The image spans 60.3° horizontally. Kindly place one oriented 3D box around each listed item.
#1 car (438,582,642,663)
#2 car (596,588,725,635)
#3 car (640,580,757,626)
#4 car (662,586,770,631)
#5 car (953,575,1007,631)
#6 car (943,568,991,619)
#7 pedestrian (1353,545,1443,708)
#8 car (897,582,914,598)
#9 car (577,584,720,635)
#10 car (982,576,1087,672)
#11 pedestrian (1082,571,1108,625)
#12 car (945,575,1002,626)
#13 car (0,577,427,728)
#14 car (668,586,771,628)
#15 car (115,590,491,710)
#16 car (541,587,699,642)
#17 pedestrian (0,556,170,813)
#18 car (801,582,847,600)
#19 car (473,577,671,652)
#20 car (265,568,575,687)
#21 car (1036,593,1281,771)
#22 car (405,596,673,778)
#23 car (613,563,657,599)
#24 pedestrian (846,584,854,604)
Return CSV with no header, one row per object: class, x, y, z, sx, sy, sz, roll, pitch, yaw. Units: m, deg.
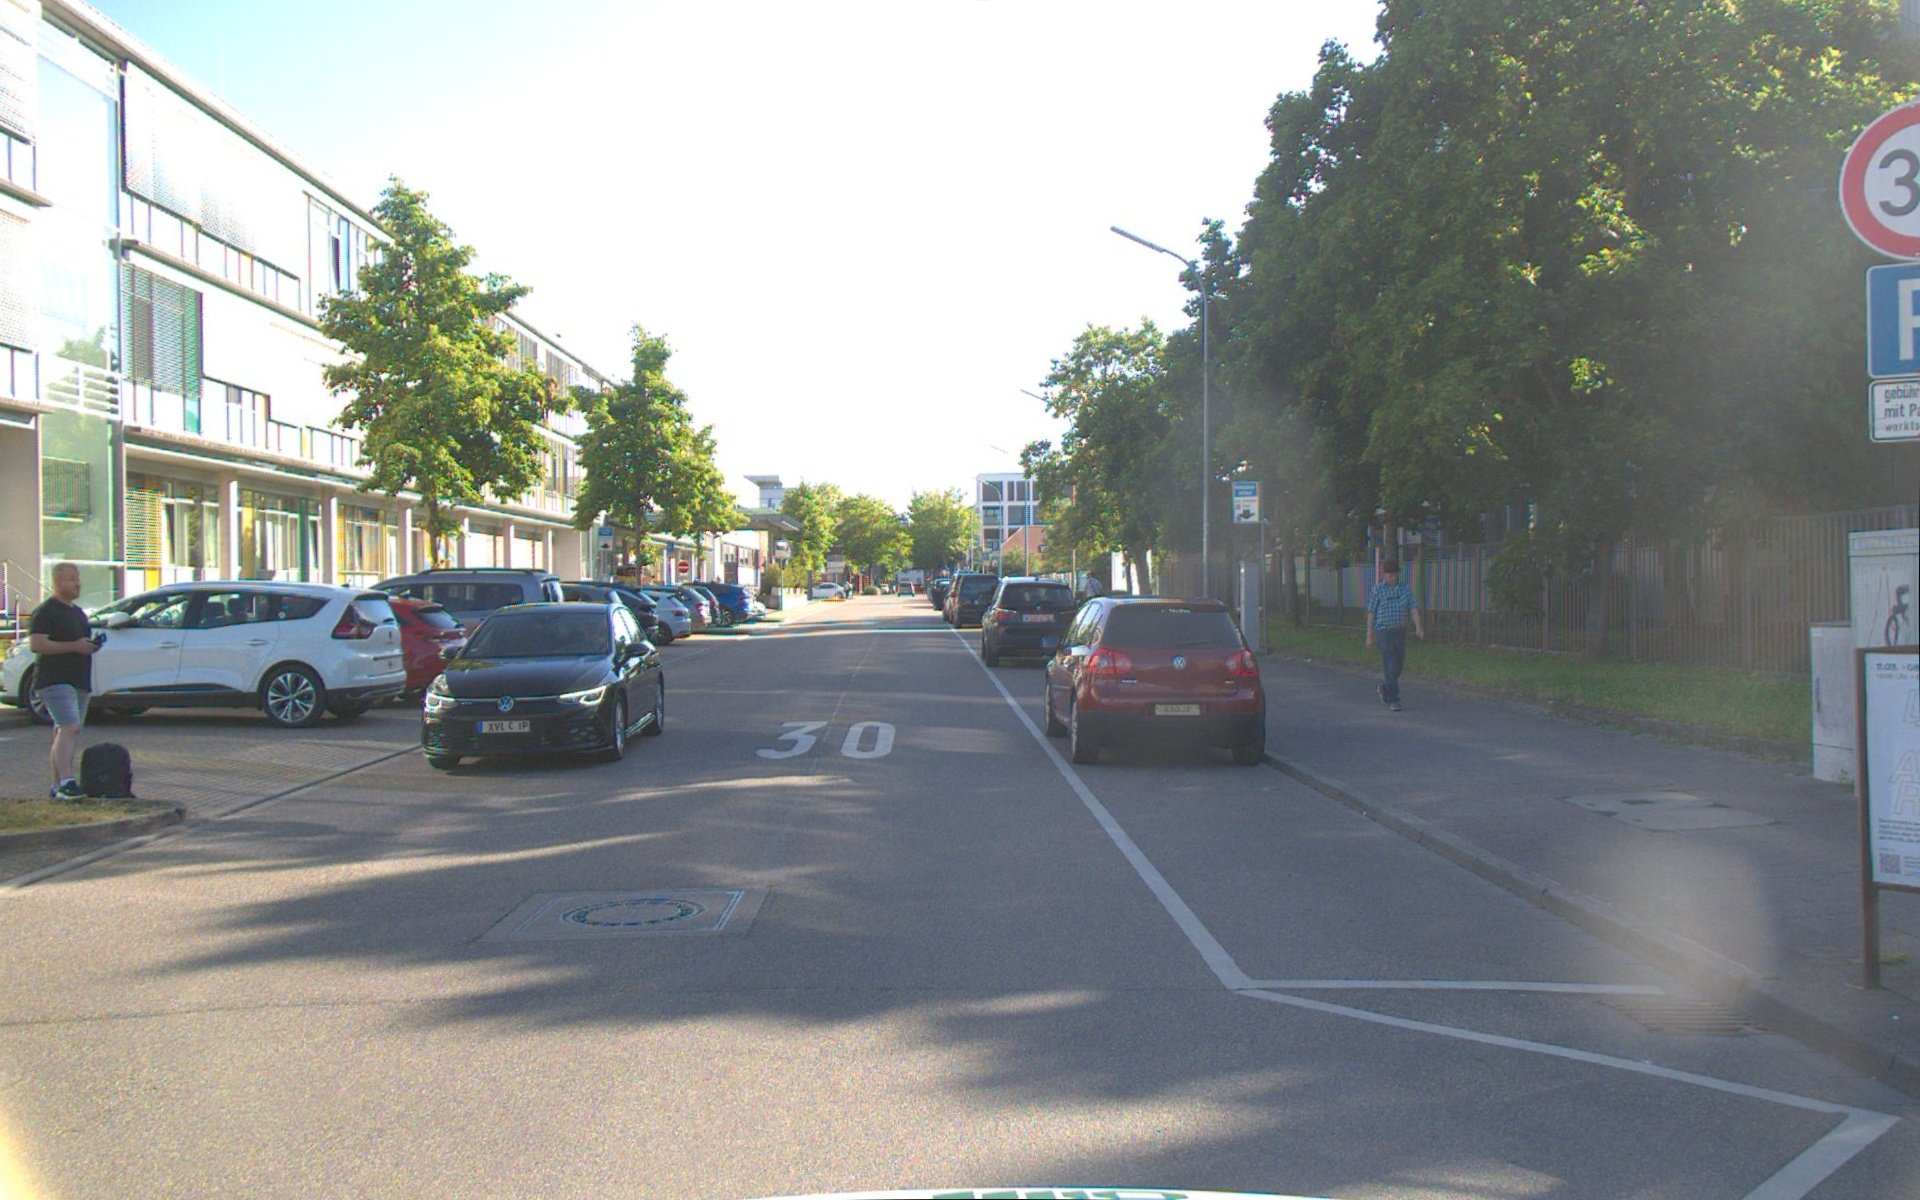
car,-8.846,0.457,35.103,3.909,1.635,1.870,1,0,-6
car,-10.133,0.370,56.244,4.132,1.512,1.870,1,0,-6
car,-9.586,0.108,60.852,4.132,1.631,1.870,1,0,-6
car,-9.311,0.304,63.311,3.909,1.579,1.998,-1,0,-5
car,0.662,0.082,57.265,1.698,1.862,3.904,-1,0,-1
car,0.258,-0.286,69.742,1.837,2.013,3.999,-2,1,-2
pedestrian,5.007,0.290,18.967,0.703,1.788,0.884,-3,1,-1
car,-5.621,-1.054,170.699,1.708,1.570,3.999,0,0,-2
car,-9.523,0.286,50.852,4.132,1.487,1.870,1,0,-6
car,1.382,0.402,32.323,1.775,1.695,4.592,1,1,-1
pedestrian,4.391,-0.073,53.914,0.684,1.690,0.751,-3,0,-2
car,0.483,-0.004,63.502,1.953,1.854,4.197,-2,1,-2
car,-8.962,0.601,19.822,4.516,1.680,1.868,0,0,2
car,-9.532,0.273,65.799,3.909,1.579,1.998,-1,1,-5
car,-8.812,0.649,22.461,4.344,1.527,1.827,-1,0,-2
car,-8.932,0.380,43.717,3.909,1.382,1.741,1,0,-6
pedestrian,-6.640,0.618,12.565,0.840,1.874,0.825,1,0,0
car,-11.876,-0.767,144.414,3.906,1.546,1.999,-1,-1,-2
car,-8.855,0.319,38.058,4.164,1.640,2.046,1,0,-6
car,-9.085,0.447,28.100,4.646,1.897,1.827,1,1,-2
car,1.784,0.685,16.292,1.685,1.480,4.650,0,0,-2
car,-3.962,0.739,16.220,1.669,1.476,4.084,-2,0,-2
car,-19.470,-1.127,99.301,1.953,2.049,3.998,-1,-1,-2
pedestrian,-9.237,-0.475,138.881,0.606,1.652,0.716,-2,0,-2
